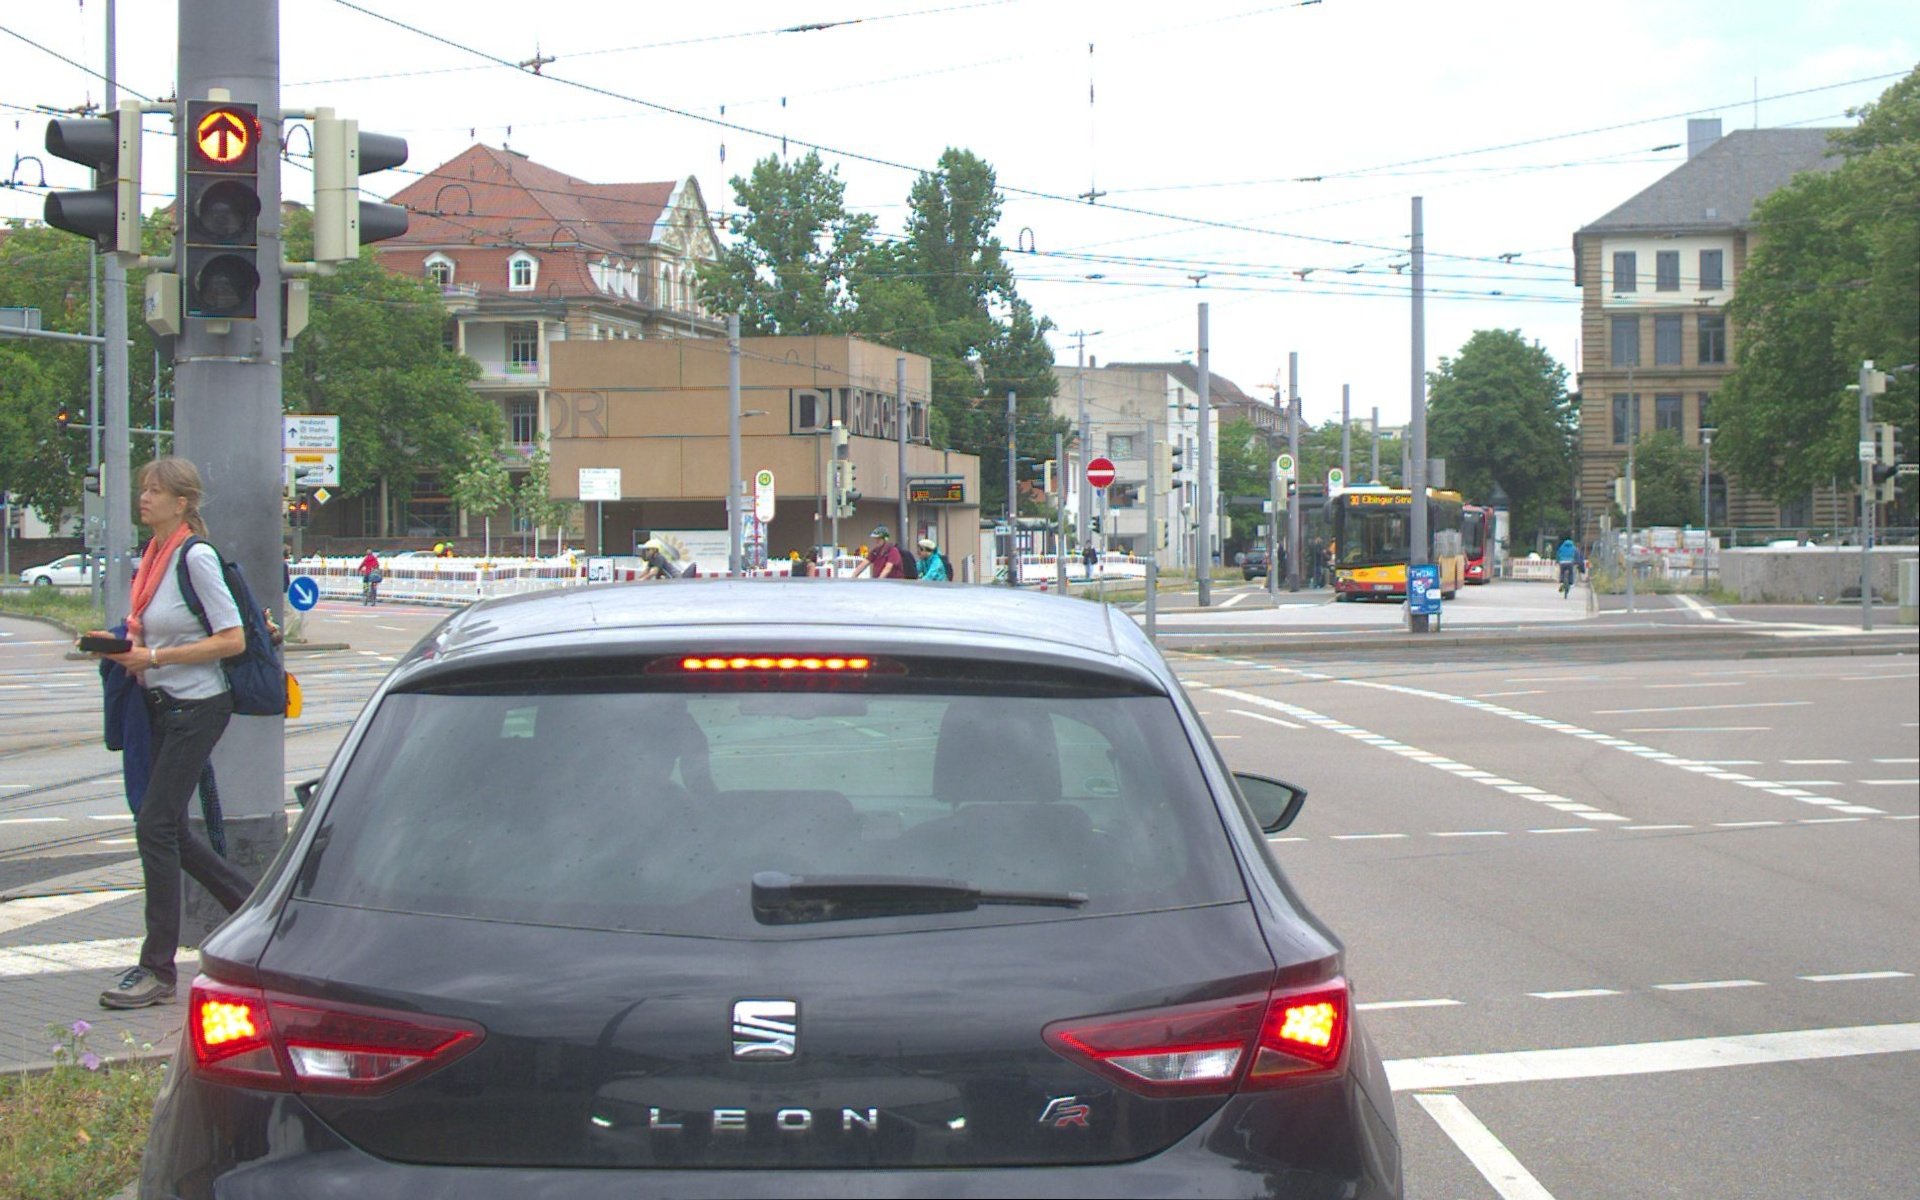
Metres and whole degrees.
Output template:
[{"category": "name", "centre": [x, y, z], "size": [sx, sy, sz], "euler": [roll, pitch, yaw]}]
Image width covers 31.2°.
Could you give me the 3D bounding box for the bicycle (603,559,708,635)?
[{"category": "bicycle", "centre": [-5.389, -0.062, 60.916], "size": [1.730, 1.317, 0.645], "euler": [-1, 1, -24]}]

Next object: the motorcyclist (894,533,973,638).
[{"category": "motorcyclist", "centre": [-0.414, -0.229, 54.361], "size": [0.977, 1.644, 0.750], "euler": [-1, 0, -33]}]

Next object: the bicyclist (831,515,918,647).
[{"category": "bicyclist", "centre": [-1.233, -0.285, 49.776], "size": [0.777, 1.891, 0.994], "euler": [0, 1, 44]}]

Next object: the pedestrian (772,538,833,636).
[{"category": "pedestrian", "centre": [-3.124, -0.262, 68.393], "size": [0.700, 1.927, 1.028], "euler": [0, 1, 38]}]

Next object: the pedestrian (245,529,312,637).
[{"category": "pedestrian", "centre": [-12.316, -0.318, 62.147], "size": [1.027, 1.927, 0.701], "euler": [-1, 1, -25]}]

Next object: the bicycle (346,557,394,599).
[{"category": "bicycle", "centre": [-16.999, -0.633, 99.040], "size": [0.891, 1.174, 2.302], "euler": [0, 1, -22]}]

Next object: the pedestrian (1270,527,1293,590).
[{"category": "pedestrian", "centre": [9.733, -1.252, 104.091], "size": [0.621, 1.911, 0.698], "euler": [0, 1, 9]}]

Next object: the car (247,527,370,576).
[{"category": "car", "centre": [-23.305, -1.740, 123.040], "size": [3.987, 1.678, 2.000], "euler": [-1, 0, 1]}]

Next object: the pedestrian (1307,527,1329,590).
[{"category": "pedestrian", "centre": [10.879, -1.265, 104.573], "size": [0.621, 1.911, 0.698], "euler": [0, 1, 9]}]

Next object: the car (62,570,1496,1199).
[{"category": "car", "centre": [-0.351, 0.689, 6.000], "size": [1.704, 1.444, 3.813], "euler": [0, 1, -4]}]

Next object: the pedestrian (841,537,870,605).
[{"category": "pedestrian", "centre": [-2.957, -0.819, 97.377], "size": [0.708, 1.911, 0.623], "euler": [0, 1, 7]}]

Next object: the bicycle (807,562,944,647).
[{"category": "bicycle", "centre": [-1.215, 0.051, 49.784], "size": [0.777, 1.180, 2.027], "euler": [1, 1, 44]}]

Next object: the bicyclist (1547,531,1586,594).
[{"category": "bicyclist", "centre": [17.824, -1.099, 101.003], "size": [0.871, 1.845, 1.048], "euler": [0, 1, -6]}]

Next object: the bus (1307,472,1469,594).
[{"category": "bus", "centre": [11.758, -1.814, 93.457], "size": [2.962, 3.112, 11.531], "euler": [0, 1, 14]}]

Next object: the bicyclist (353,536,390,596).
[{"category": "bicyclist", "centre": [-16.919, -0.980, 98.792], "size": [0.882, 1.726, 0.894], "euler": [0, 1, -22]}]

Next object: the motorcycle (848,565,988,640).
[{"category": "motorcycle", "centre": [-0.656, 0.032, 54.214], "size": [2.135, 1.135, 0.744], "euler": [-1, 1, -33]}]

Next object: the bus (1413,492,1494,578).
[{"category": "bus", "centre": [19.664, -2.578, 136.668], "size": [2.655, 3.272, 10.990], "euler": [0, 1, 11]}]

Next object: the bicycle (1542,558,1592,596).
[{"category": "bicycle", "centre": [17.824, -0.674, 101.020], "size": [0.865, 1.101, 2.302], "euler": [0, 1, -5]}]

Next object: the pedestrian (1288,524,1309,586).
[{"category": "pedestrian", "centre": [10.395, -1.385, 105.559], "size": [0.621, 1.911, 0.710], "euler": [0, 1, 3]}]

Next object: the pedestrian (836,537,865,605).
[{"category": "pedestrian", "centre": [-3.079, -0.821, 96.581], "size": [0.708, 1.911, 0.623], "euler": [0, 1, 7]}]

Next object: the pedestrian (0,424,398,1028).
[{"category": "pedestrian", "centre": [-2.547, 0.391, 11.465], "size": [1.101, 1.900, 0.735], "euler": [0, 0, -43]}]

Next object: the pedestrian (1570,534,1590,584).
[{"category": "pedestrian", "centre": [24.831, -1.634, 137.618], "size": [0.662, 2.007, 0.692], "euler": [0, 1, 0]}]

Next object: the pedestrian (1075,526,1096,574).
[{"category": "pedestrian", "centre": [5.060, -2.019, 138.500], "size": [0.622, 1.911, 0.709], "euler": [-1, 0, 25]}]

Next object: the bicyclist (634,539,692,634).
[{"category": "bicyclist", "centre": [-5.267, -0.250, 60.956], "size": [0.854, 1.667, 0.654], "euler": [-1, 1, -24]}]

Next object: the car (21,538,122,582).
[{"category": "car", "centre": [-36.397, -1.637, 140.791], "size": [3.986, 1.766, 1.717], "euler": [-1, 1, -15]}]

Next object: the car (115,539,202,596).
[{"category": "car", "centre": [-24.447, -0.981, 104.767], "size": [1.993, 1.678, 4.001], "euler": [0, 0, -22]}]
